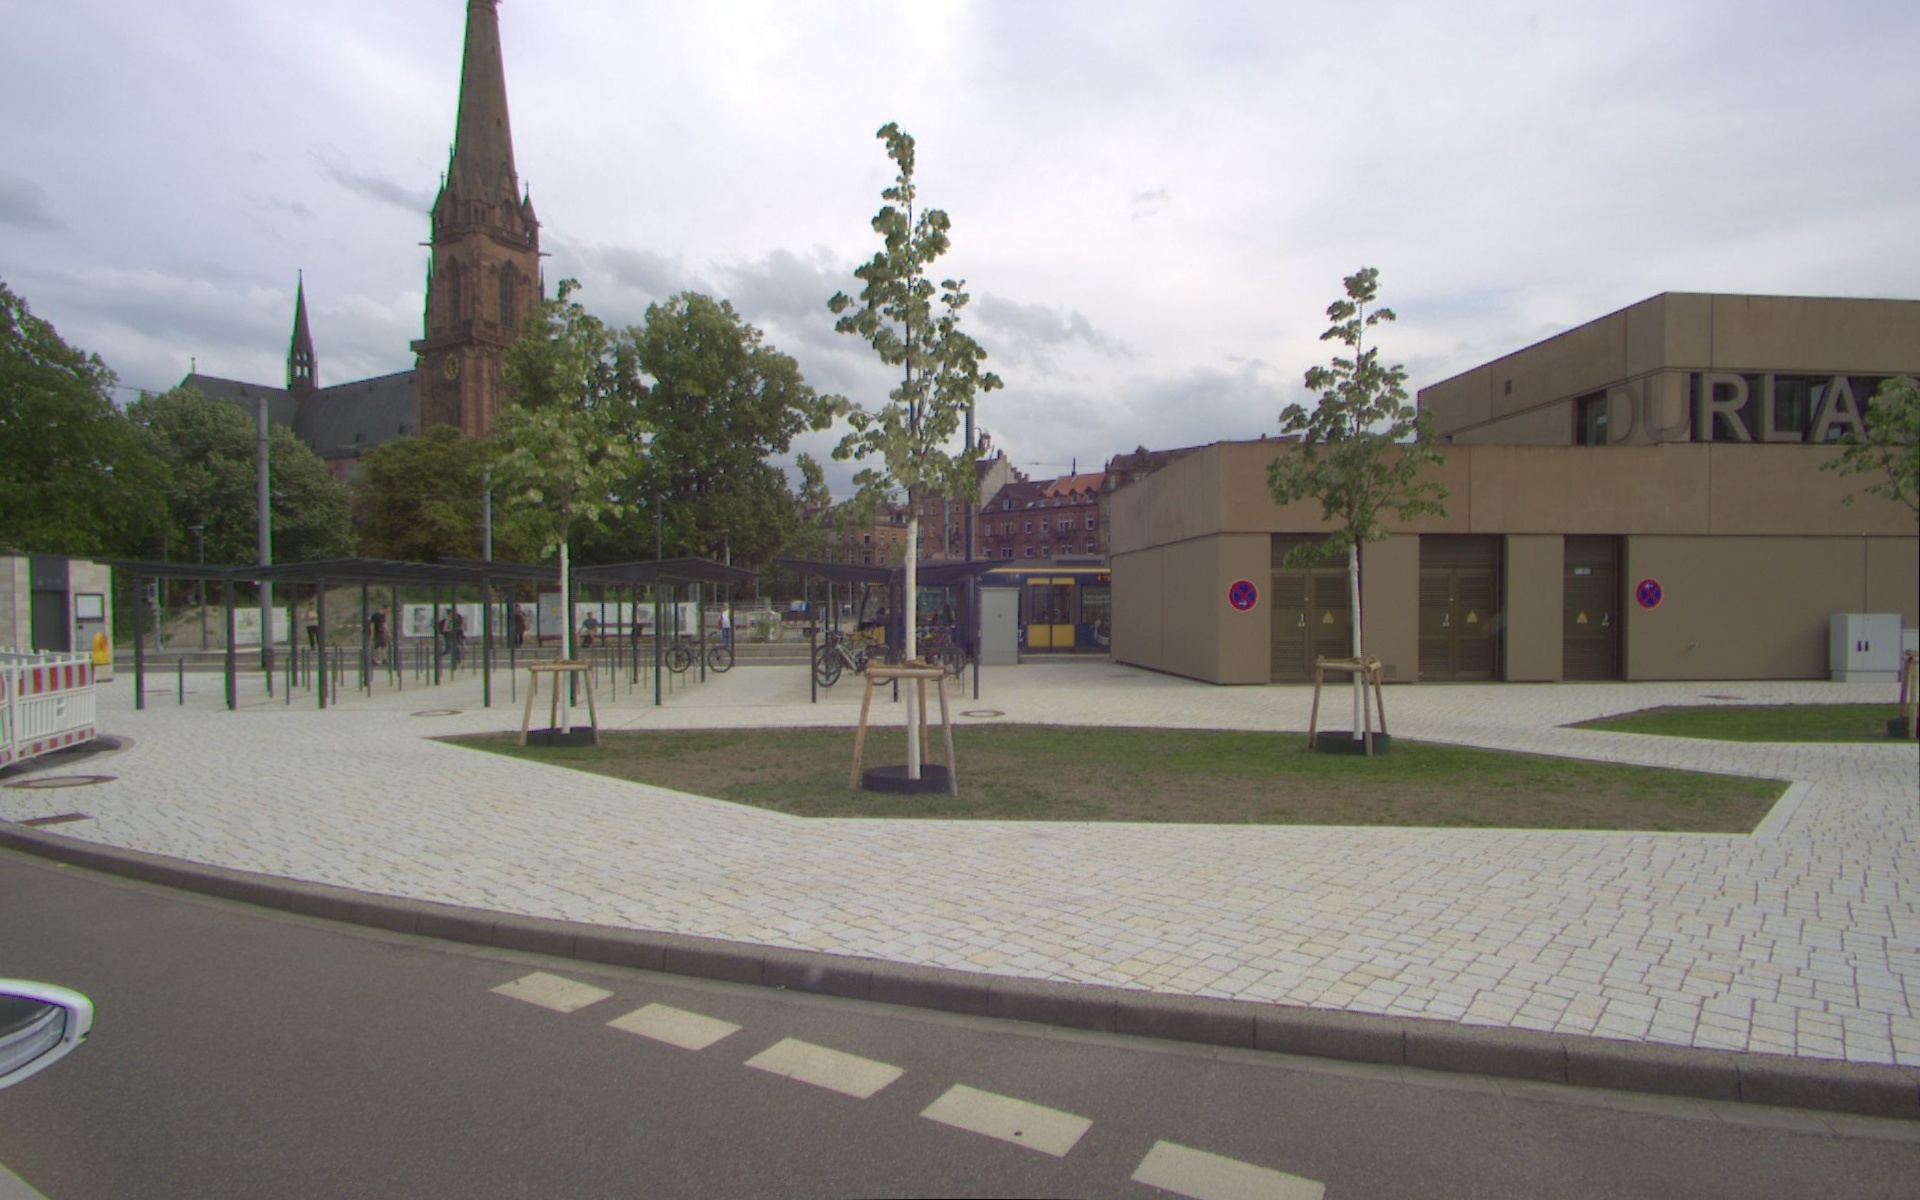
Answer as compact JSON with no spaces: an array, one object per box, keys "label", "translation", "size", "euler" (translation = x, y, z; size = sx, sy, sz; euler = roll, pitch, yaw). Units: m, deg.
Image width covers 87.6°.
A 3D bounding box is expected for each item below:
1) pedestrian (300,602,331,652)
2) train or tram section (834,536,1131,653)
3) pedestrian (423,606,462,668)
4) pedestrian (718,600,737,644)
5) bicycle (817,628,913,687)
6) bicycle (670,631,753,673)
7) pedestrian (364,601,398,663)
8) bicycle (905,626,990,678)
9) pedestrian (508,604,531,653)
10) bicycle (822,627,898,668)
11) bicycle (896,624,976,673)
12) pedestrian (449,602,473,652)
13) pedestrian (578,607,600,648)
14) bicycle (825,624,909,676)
[{"label":"pedestrian","translation":[-24.038,0.992,37.355],"size":[0.743,1.825,0.817],"euler":[3,2,42]},{"label":"train or tram section","translation":[0.627,-0.168,32.673],"size":[9.189,3.321,3.061],"euler":[2,1,-4]},{"label":"pedestrian","translation":[-13.925,0.980,26.956],"size":[0.782,1.625,0.538],"euler":[2,1,-5]},{"label":"pedestrian","translation":[-9.158,0.873,39.454],"size":[0.665,1.701,0.709],"euler":[2,1,-11]},{"label":"bicycle","translation":[-2.017,1.225,21.237],"size":[1.931,1.172,0.583],"euler":[2,1,-13]},{"label":"bicycle","translation":[-6.144,1.289,24.806],"size":[1.929,0.968,0.583],"euler":[2,1,-7]},{"label":"pedestrian","translation":[-16.004,0.889,27.693],"size":[0.618,1.677,0.531],"euler":[2,1,-5]},{"label":"bicycle","translation":[-0.304,1.254,24.078],"size":[1.931,1.172,0.583],"euler":[2,1,-13]},{"label":"pedestrian","translation":[-16.596,1.077,37.756],"size":[0.665,1.825,0.522],"euler":[2,2,-11]},{"label":"bicycle","translation":[-2.630,1.244,26.365],"size":[1.929,0.983,0.583],"euler":[2,1,-7]},{"label":"bicycle","translation":[-0.607,1.228,25.501],"size":[1.931,1.172,0.583],"euler":[2,1,-13]},{"label":"pedestrian","translation":[-18.702,1.017,37.545],"size":[0.665,1.825,0.522],"euler":[2,2,-11]},{"label":"pedestrian","translation":[-14.111,1.028,38.097],"size":[0.665,1.505,0.689],"euler":[2,1,-11]},{"label":"bicycle","translation":[-2.231,1.188,24.014],"size":[1.931,1.172,0.583],"euler":[2,1,-13]}]
